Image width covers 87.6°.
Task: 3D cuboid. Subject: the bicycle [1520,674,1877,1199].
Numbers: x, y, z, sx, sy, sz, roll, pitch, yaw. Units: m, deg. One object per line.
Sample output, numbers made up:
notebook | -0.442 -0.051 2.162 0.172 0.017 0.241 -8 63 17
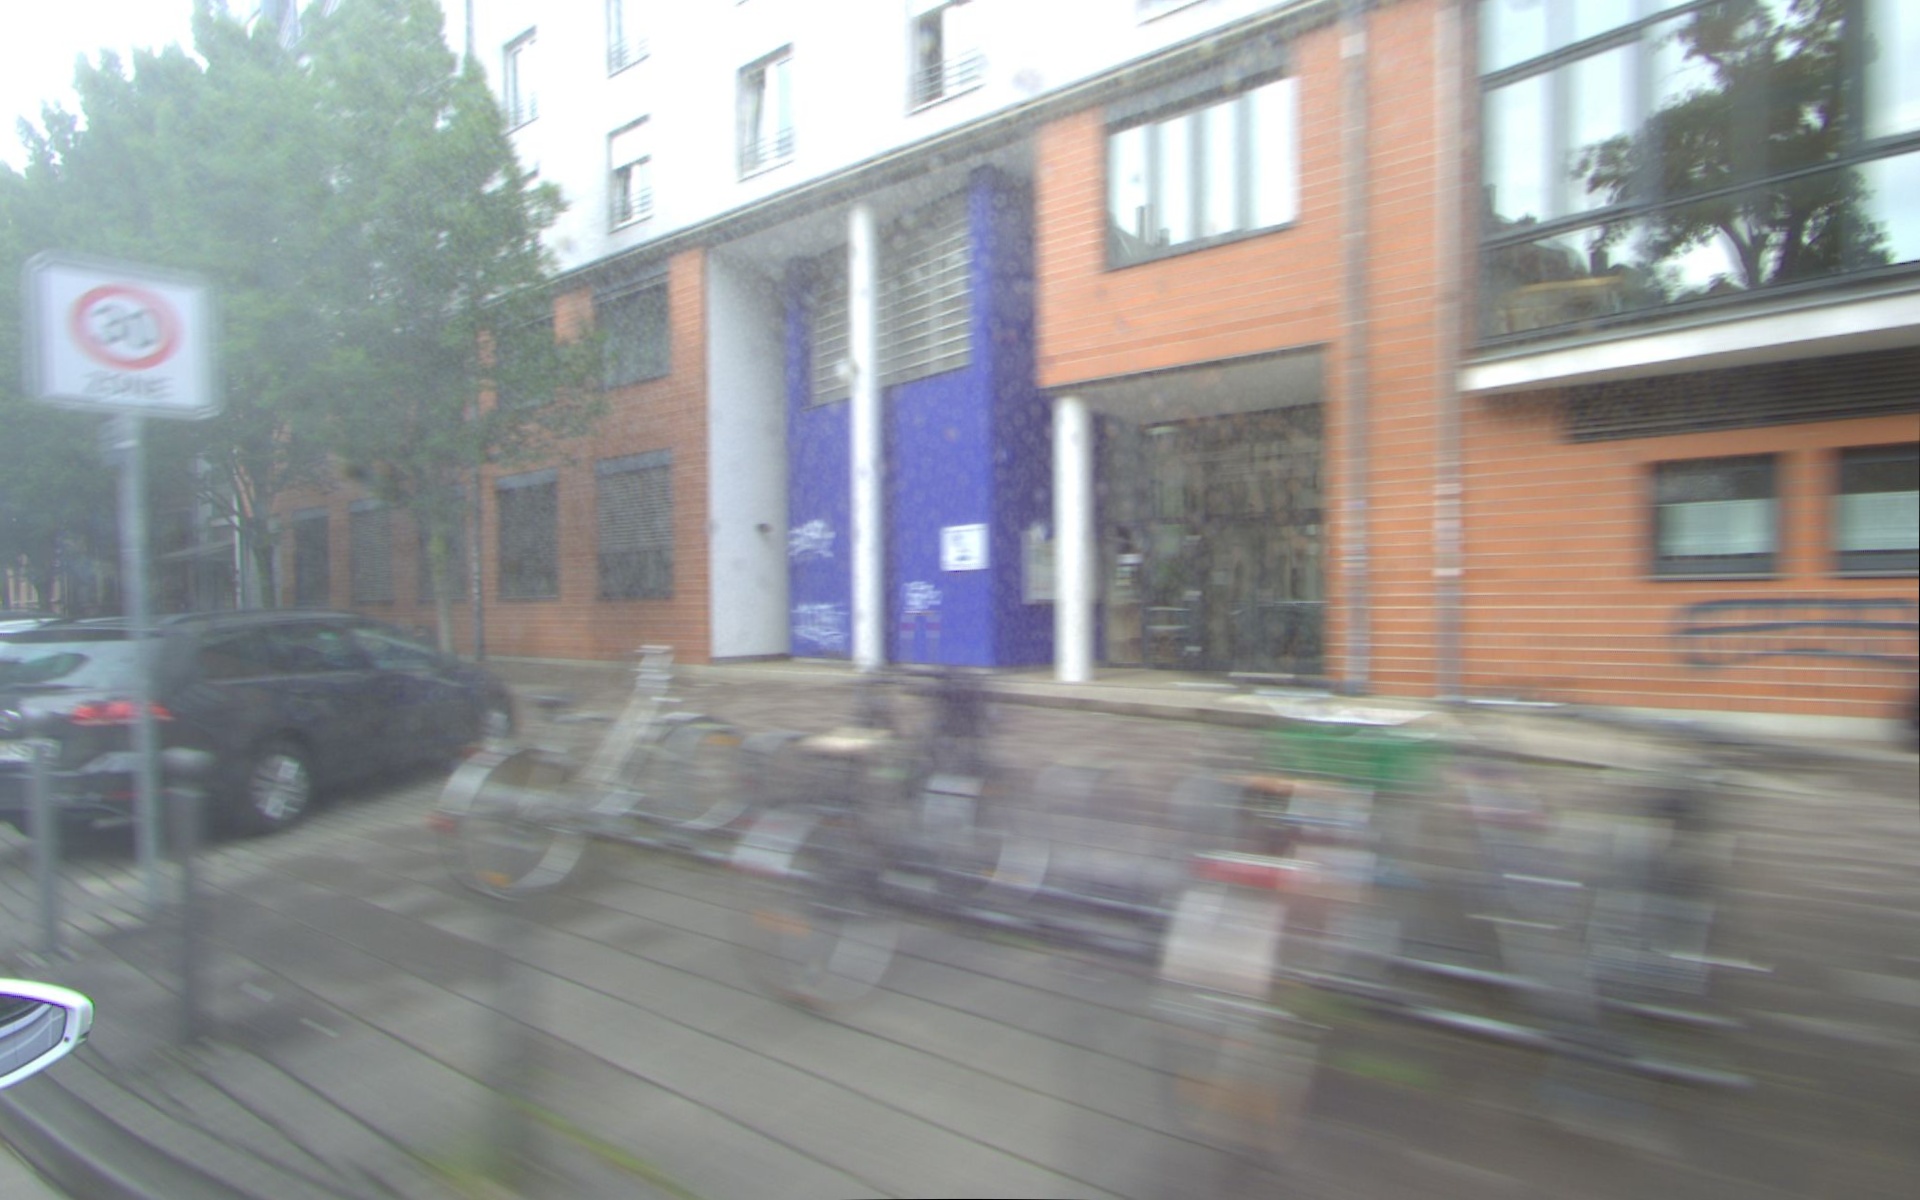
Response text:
bicycle | 2.108 0.845 2.984 0.603 1.076 2.003 -1 1 33

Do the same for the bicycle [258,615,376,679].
bicycle | -11.901 0.848 18.586 0.558 1.106 1.747 -1 -1 36

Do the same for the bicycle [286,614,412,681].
bicycle | -10.790 0.818 17.742 0.558 1.106 1.830 -1 -1 36

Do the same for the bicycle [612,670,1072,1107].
bicycle | -0.297 0.867 3.725 0.603 1.057 1.878 -1 1 33

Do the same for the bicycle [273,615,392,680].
bicycle | -11.305 0.838 18.091 0.558 1.106 1.747 -1 -1 36

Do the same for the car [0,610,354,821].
car | -7.529 0.858 9.104 1.809 1.518 3.566 0 0 2

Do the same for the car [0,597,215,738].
car | -11.949 0.799 12.579 1.866 1.606 4.058 -1 1 6

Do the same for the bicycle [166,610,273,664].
bicycle | -15.870 0.769 21.496 0.558 1.106 1.747 -1 -1 36

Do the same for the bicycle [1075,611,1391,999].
bicycle | 1.173 0.624 3.932 0.603 1.091 1.923 -1 1 33

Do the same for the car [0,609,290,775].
car | -9.812 0.906 11.090 1.839 1.563 3.987 1 -1 6

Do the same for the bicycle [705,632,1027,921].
bicycle | -0.391 0.790 5.246 0.603 1.156 1.878 -1 1 33

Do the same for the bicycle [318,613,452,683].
bicycle | -9.566 0.775 16.735 0.536 1.106 1.889 -1 -1 36

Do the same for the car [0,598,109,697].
car | -16.560 0.804 16.258 1.737 1.606 4.058 -1 1 6

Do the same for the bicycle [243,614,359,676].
bicycle | -12.410 0.827 18.902 0.558 1.106 1.747 -1 -1 36

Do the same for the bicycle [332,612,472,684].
bicycle | -9.086 0.760 16.378 0.569 1.106 1.926 -1 -1 36

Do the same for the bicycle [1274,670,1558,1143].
bicycle | 1.704 0.858 3.543 0.603 1.057 1.923 -1 1 33

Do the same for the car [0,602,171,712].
car | -14.306 0.833 15.009 1.649 1.506 4.059 -1 1 1

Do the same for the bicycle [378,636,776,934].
bicycle | -1.847 0.814 5.154 0.603 1.156 1.878 -1 1 33

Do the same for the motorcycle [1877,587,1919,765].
motorcycle | 7.729 0.524 6.734 2.180 1.219 1.024 0 2 37

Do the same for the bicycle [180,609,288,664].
bicycle | -15.272 0.750 21.097 0.558 1.106 1.747 -1 -1 36

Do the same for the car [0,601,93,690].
car | -18.405 0.854 18.098 1.737 1.606 4.059 -1 1 3

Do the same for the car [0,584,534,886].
car | -5.249 0.731 7.707 1.827 1.600 4.284 -1 2 4

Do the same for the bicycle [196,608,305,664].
bicycle | -14.610 0.730 20.665 0.558 1.106 1.747 -1 -1 36
